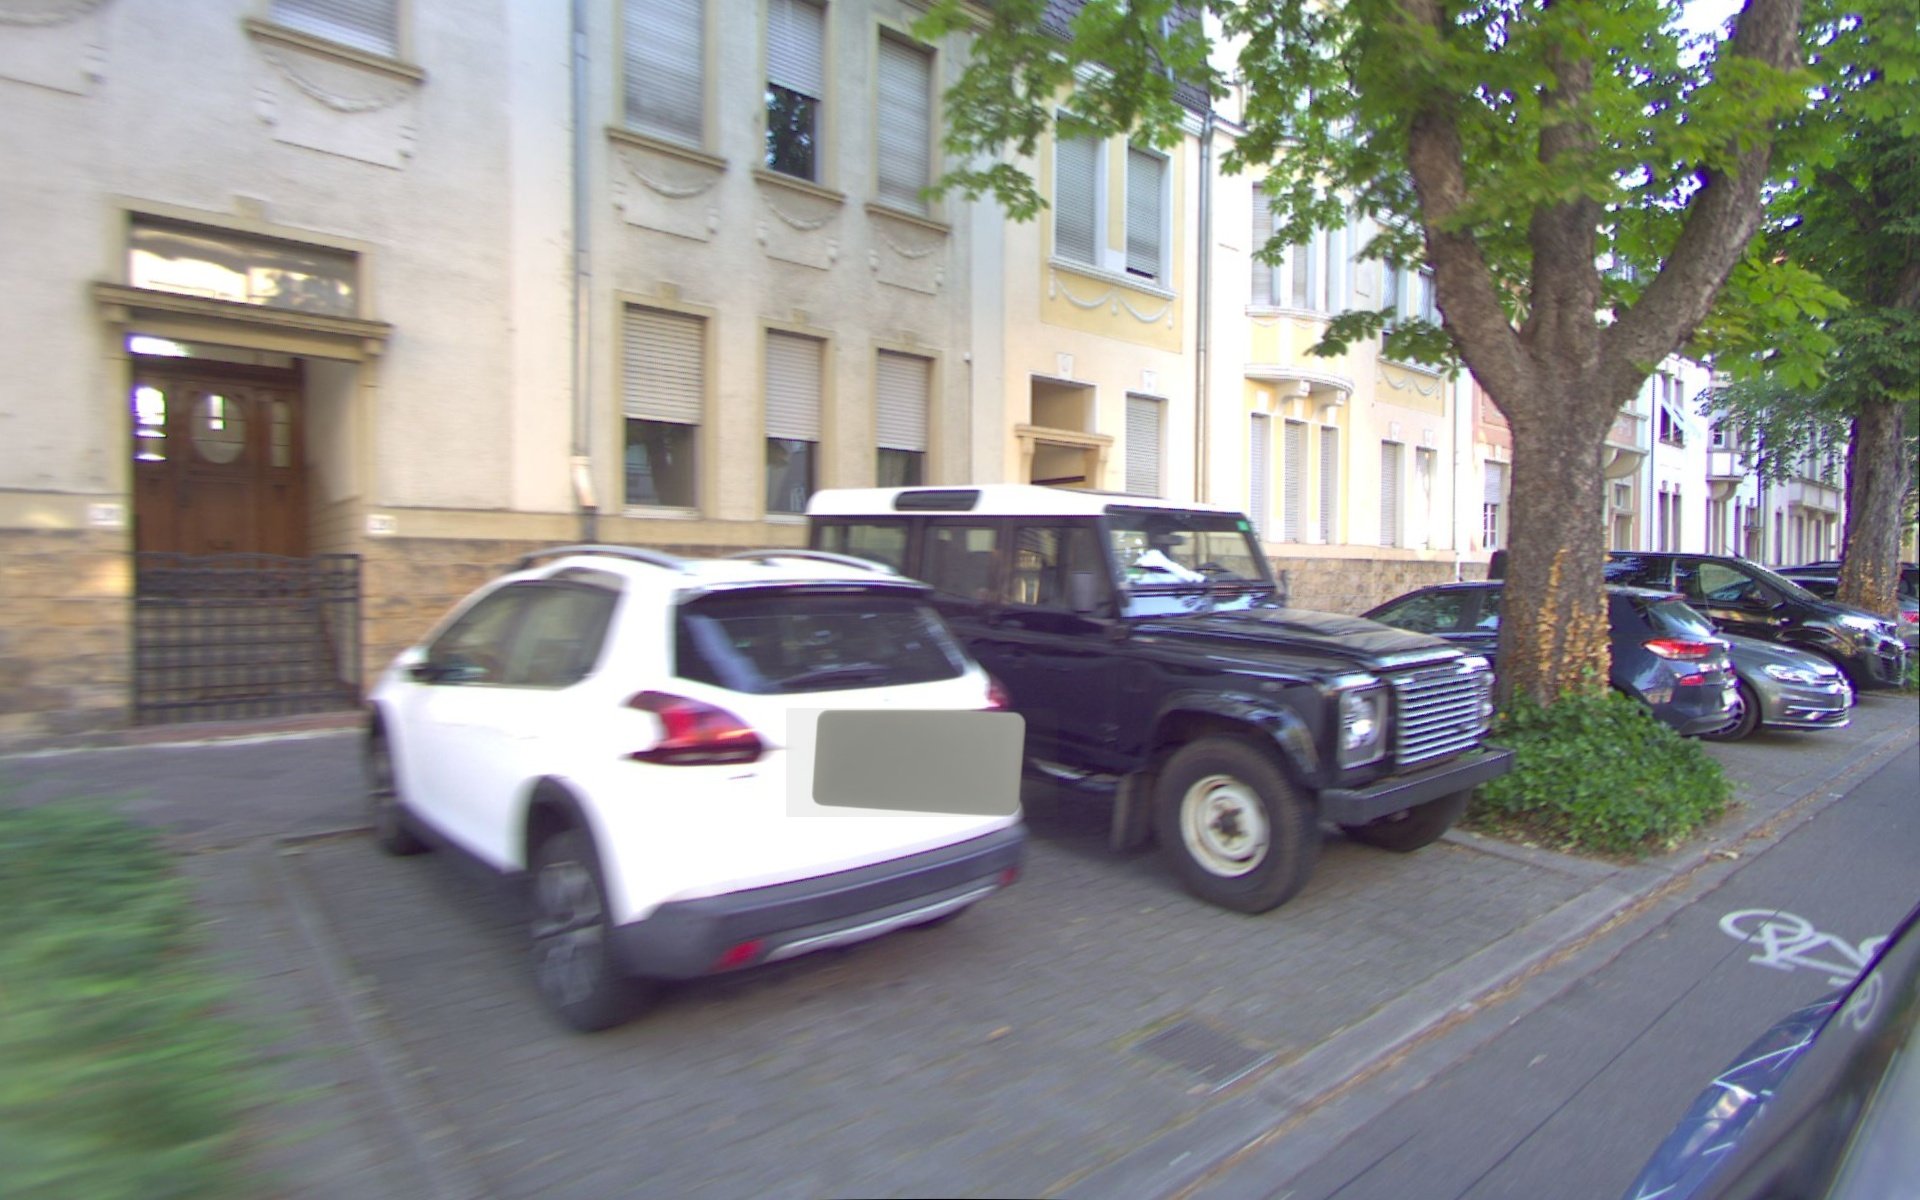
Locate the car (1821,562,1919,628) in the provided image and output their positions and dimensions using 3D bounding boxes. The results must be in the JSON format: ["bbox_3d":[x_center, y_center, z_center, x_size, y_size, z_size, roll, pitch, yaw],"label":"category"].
[{"bbox_3d":[28.344,-0.157,29.529,1.966,1.897,4.704,-1,1,-41],"label":"car"}]

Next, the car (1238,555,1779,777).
[{"bbox_3d":[5.041,0.458,9.764,1.939,1.649,4.203,-1,1,-41],"label":"car"}]

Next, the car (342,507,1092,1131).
[{"bbox_3d":[-1.479,0.484,4.650,1.655,1.595,4.042,0,2,-41],"label":"car"}]

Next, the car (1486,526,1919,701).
[{"bbox_3d":[10.253,0.125,14.218,1.966,2.039,4.704,-1,1,-41],"label":"car"}]

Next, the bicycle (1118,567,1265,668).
[{"bbox_3d":[3.293,0.210,14.294,2.162,1.300,0.762,-1,3,-37],"label":"bicycle"}]

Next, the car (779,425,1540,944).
[{"bbox_3d":[0.798,0.202,6.159,1.729,2.008,4.430,-4,5,-40],"label":"car"}]

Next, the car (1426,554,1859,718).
[{"bbox_3d":[8.427,0.339,12.780,1.966,1.709,4.203,-1,1,-41],"label":"car"}]

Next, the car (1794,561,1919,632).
[{"bbox_3d":[26.250,-0.109,27.974,1.966,1.897,4.704,-1,1,-41],"label":"car"}]

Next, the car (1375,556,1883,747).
[{"bbox_3d":[6.951,0.404,10.856,1.966,1.627,4.203,-1,1,-41],"label":"car"}]
